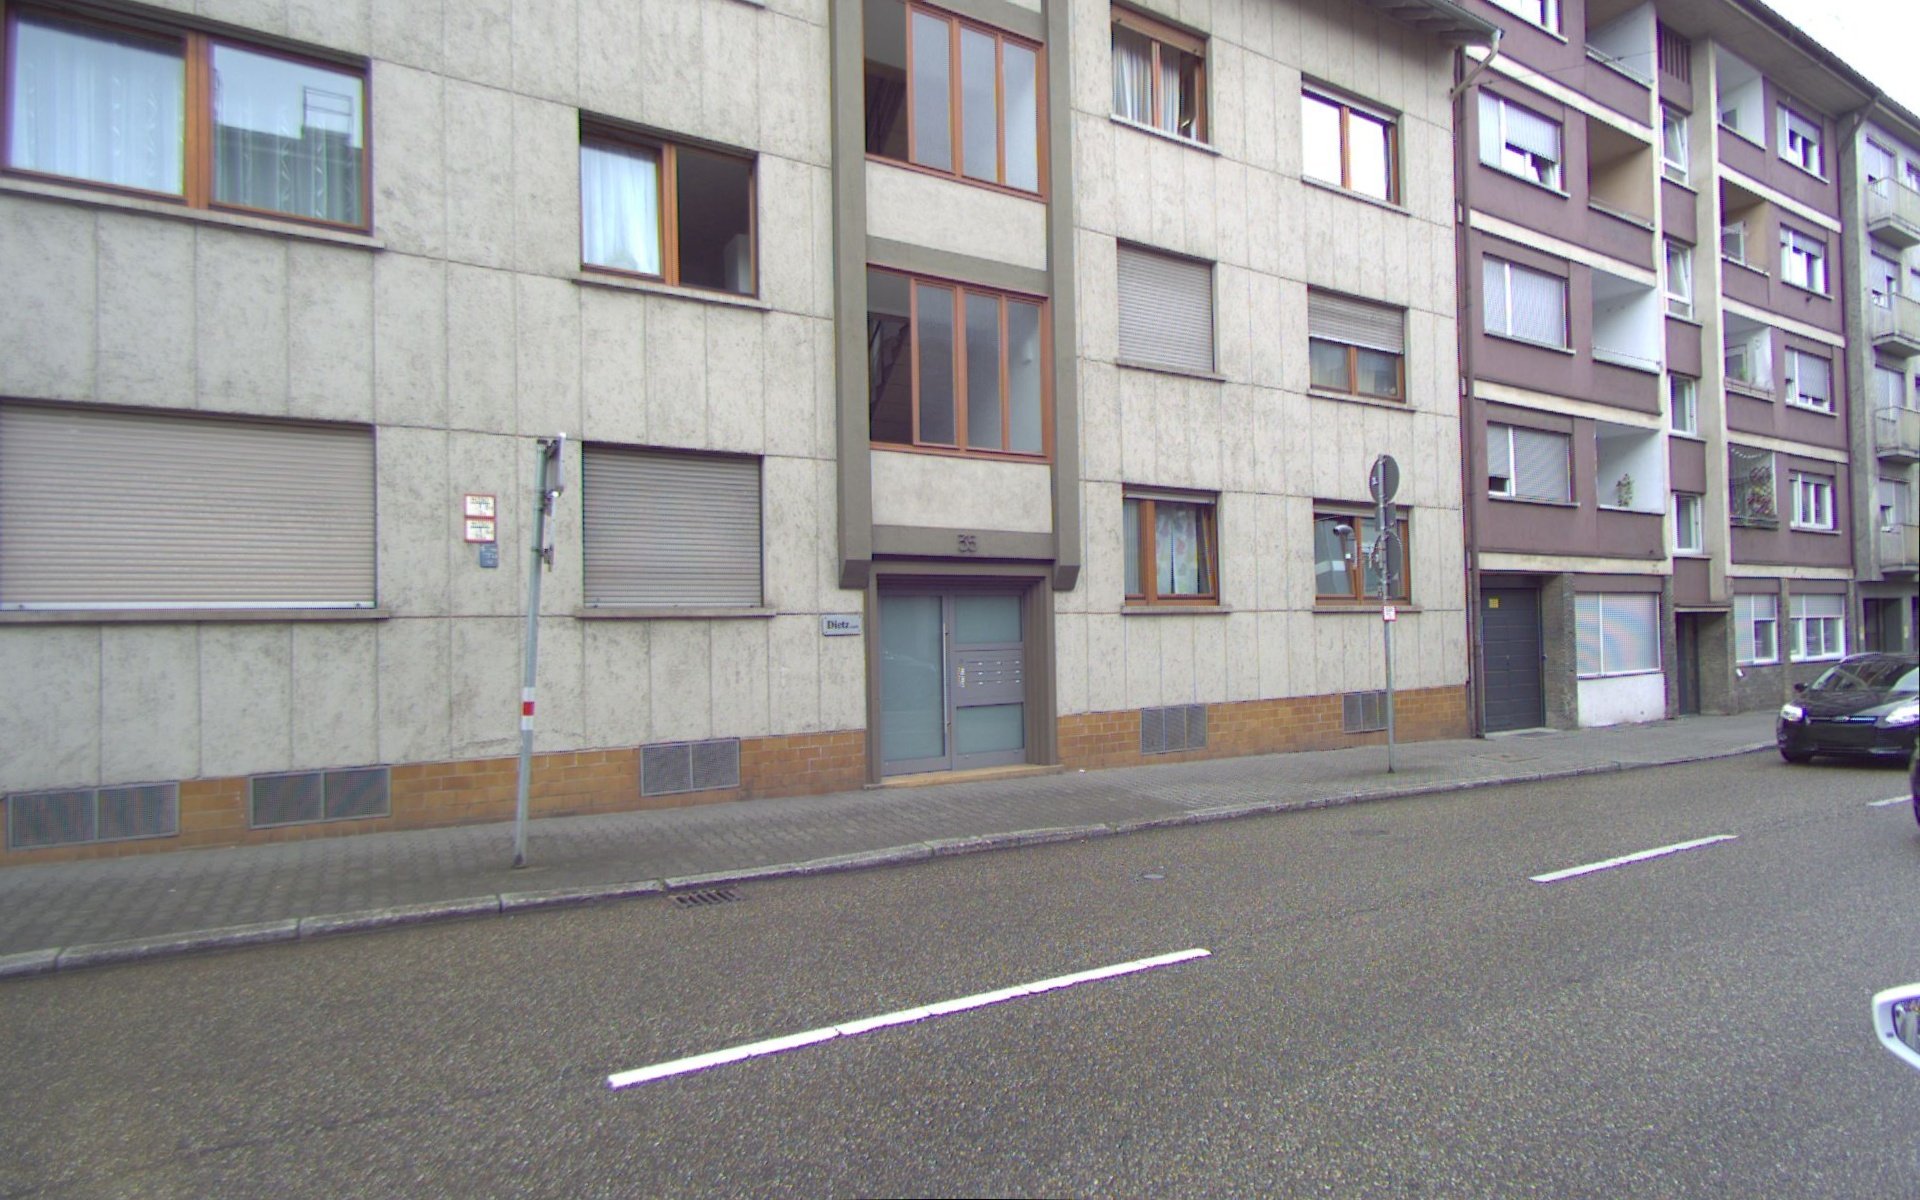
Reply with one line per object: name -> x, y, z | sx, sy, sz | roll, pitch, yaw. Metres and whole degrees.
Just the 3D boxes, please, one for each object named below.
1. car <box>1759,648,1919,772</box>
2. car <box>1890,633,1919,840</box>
car -> 13.139, 1.427, 14.022 | 4.325, 1.492, 1.714 | 1, -4, -32
car -> 9.347, 1.051, 8.139 | 4.172, 1.559, 1.610 | 2, -4, -33
